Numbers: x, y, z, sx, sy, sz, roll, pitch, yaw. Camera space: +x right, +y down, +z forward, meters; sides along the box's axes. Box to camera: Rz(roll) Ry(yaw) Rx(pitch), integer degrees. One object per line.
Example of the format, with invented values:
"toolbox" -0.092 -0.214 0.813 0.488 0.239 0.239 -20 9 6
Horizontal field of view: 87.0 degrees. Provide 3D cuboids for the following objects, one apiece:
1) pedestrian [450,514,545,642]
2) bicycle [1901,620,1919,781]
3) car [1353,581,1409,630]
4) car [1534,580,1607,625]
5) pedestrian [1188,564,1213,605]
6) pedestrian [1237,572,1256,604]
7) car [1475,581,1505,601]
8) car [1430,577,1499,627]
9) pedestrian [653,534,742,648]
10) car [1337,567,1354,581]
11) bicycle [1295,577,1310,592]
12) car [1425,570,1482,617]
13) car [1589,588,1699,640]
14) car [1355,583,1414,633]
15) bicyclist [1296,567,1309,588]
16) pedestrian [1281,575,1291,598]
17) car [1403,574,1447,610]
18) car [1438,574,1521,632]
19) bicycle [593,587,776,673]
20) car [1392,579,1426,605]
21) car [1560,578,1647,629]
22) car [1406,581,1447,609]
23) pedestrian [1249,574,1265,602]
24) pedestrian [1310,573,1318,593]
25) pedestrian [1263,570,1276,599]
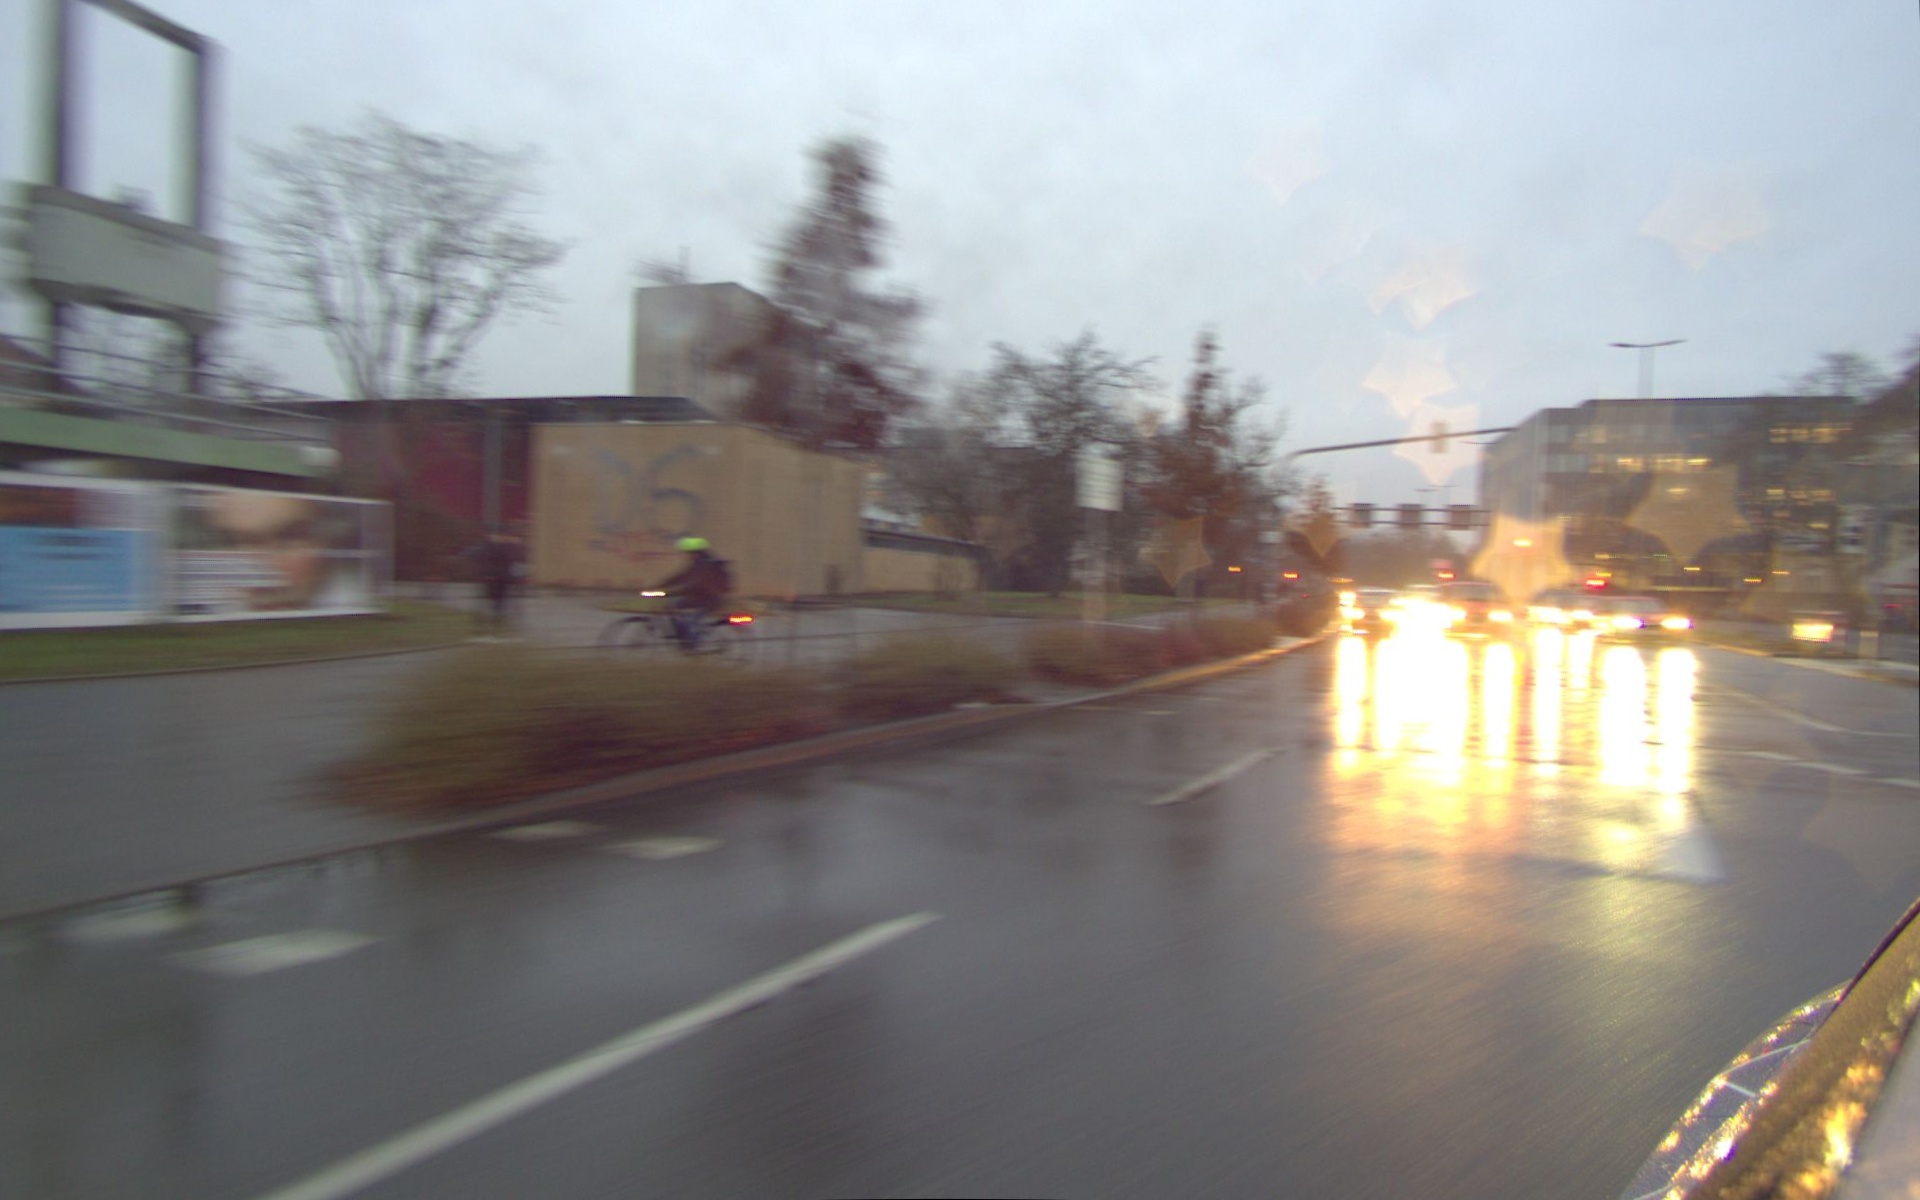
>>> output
"pedestrian" -6.587 -0.314 14.455 0.894 1.708 0.929 4 1 -7
"bicycle" 8.376 0.795 7.679 1.865 1.238 0.796 1 0 -8
"car" 17.618 0.179 42.317 1.978 1.860 3.969 3 2 23
"car" 27.300 0.044 45.404 1.977 1.771 4.439 4 3 22
"pedestrian" 11.141 -0.717 46.860 0.923 1.848 0.828 3 2 22
"pedestrian" 17.101 -0.729 60.477 0.923 1.848 0.828 3 2 22
"car" 48.302 -0.833 92.316 1.979 1.586 4.436 6 2 23
"car" 20.024 0.030 40.321 1.977 1.771 4.439 3 3 22
"pedestrian" -3.239 -0.120 12.453 0.831 1.333 0.879 1 2 -30
"car" 53.713 -3.646 140.858 2.118 1.838 3.973 3 3 21
"bicycle" 24.838 -1.128 73.411 0.785 1.028 2.882 3 3 22
"car" 22.080 -0.338 45.387 1.978 1.927 3.969 3 2 23
"car" 21.791 0.383 32.421 1.909 1.393 4.467 3 3 22
"car" 14.927 0.223 35.745 1.754 1.504 4.439 3 3 21
"bicyclist" 24.889 -1.628 73.486 0.759 1.507 0.987 3 2 22
"pedestrian" 28.885 -1.181 89.718 0.757 2.038 0.768 3 2 21
"car" 26.924 -0.502 58.676 1.977 1.947 4.237 3 2 22
"car" 17.890 0.014 35.043 1.977 1.771 4.911 3 3 22
"bicycle" -3.331 0.359 12.341 2.053 0.958 0.564 1 2 -31
"car" 32.809 -0.600 74.045 1.977 1.720 4.494 3 2 22
"car" 25.054 0.066 39.560 1.977 1.771 4.439 3 2 22
"car" 29.453 -0.359 64.039 1.977 1.586 4.728 4 3 21
"pedestrian" 20.071 -0.844 68.398 0.923 1.848 0.828 3 2 22
"pedestrian" 33.509 -1.620 95.732 0.617 1.822 0.930 3 2 24
"pedestrian" 22.734 -1.137 74.352 0.757 2.038 0.904 3 2 21
